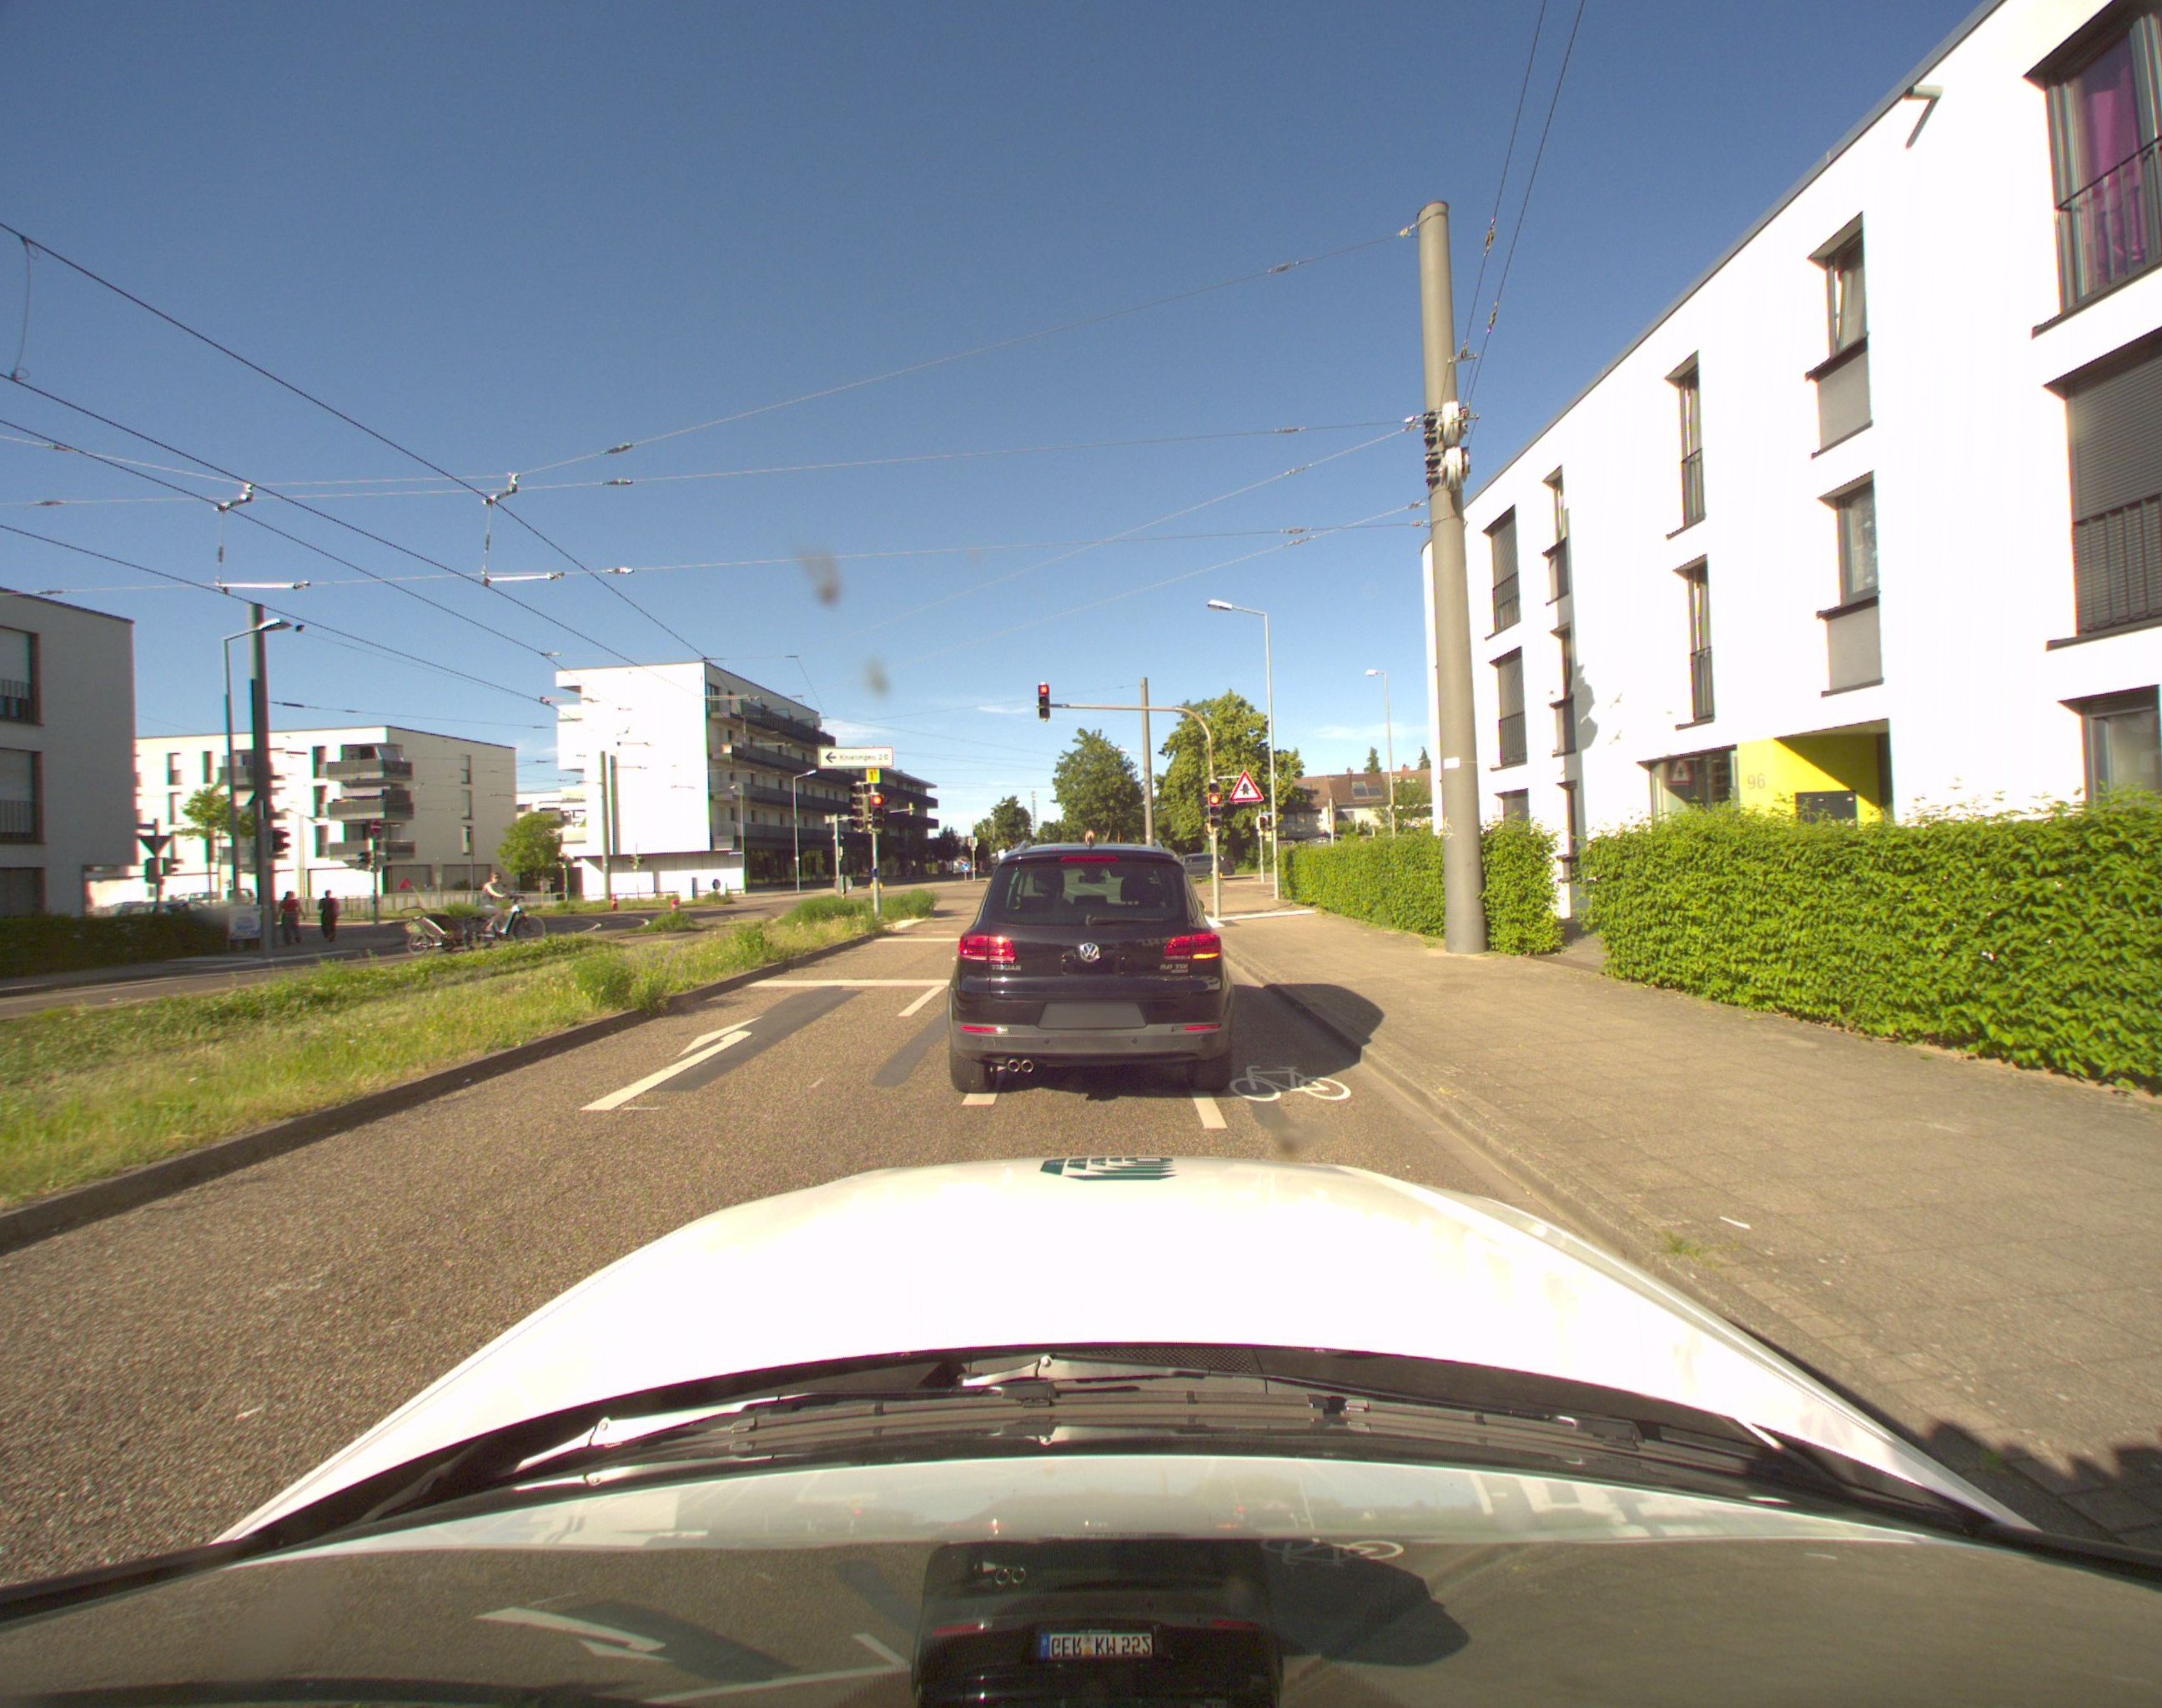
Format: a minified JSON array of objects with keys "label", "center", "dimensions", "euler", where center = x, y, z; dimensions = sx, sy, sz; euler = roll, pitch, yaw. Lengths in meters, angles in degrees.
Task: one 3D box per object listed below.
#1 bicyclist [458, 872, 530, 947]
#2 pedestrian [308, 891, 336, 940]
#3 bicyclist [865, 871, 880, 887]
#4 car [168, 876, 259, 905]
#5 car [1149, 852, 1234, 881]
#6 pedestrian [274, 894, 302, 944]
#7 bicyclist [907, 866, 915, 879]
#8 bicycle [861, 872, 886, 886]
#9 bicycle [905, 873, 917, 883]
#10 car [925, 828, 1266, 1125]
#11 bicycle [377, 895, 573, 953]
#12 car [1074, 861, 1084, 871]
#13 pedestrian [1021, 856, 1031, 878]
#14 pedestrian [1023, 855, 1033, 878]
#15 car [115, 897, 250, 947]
[{"label":"bicyclist","center":[-13.363,1.235,18.565],"dimensions":[0.907,1.630,0.976],"euler":[-1,0,0]},{"label":"pedestrian","center":[-24.002,1.936,25.768],"dimensions":[0.561,1.464,0.605],"euler":[-1,0,-36]},{"label":"bicyclist","center":[-16.582,2.000,64.684],"dimensions":[0.833,1.236,0.747],"euler":[-1,0,25]},{"label":"car","center":[-58.710,2.461,55.171],"dimensions":[3.974,1.838,2.000],"euler":[-1,0,0]},{"label":"car","center":[5.982,0.665,44.267],"dimensions":[4.474,1.504,2.003],"euler":[-1,0,6]},{"label":"pedestrian","center":[-24.651,2.007,25.313],"dimensions":[0.562,1.464,0.734],"euler":[-1,0,-40]},{"label":"bicyclist","center":[-16.094,1.764,77.075],"dimensions":[0.472,1.223,0.713],"euler":[-1,0,5]},{"label":"bicycle","center":[-16.497,1.983,64.784],"dimensions":[0.958,1.085,1.845],"euler":[-1,0,25]},{"label":"bicycle","center":[-16.094,2.246,77.061],"dimensions":[0.493,0.848,2.082],"euler":[-1,0,6]},{"label":"car","center":[0.105,0.693,6.604],"dimensions":[1.899,1.643,4.000],"euler":[-1,0,0]},{"label":"bicycle","center":[-13.750,1.578,18.569],"dimensions":[3.670,1.174,0.999],"euler":[1,0,0]},{"label":"car","center":[-0.325,2.234,151.371],"dimensions":[1.648,1.640,4.004],"euler":[-1,0,4]},{"label":"pedestrian","center":[-3.986,0.925,59.449],"dimensions":[0.600,1.565,0.530],"euler":[-1,0,6]},{"label":"pedestrian","center":[-3.919,0.926,60.072],"dimensions":[0.600,1.640,0.530],"euler":[-1,0,6]},{"label":"car","center":[-35.704,2.682,32.421],"dimensions":[3.478,1.652,1.593],"euler":[-4,0,1]}]
